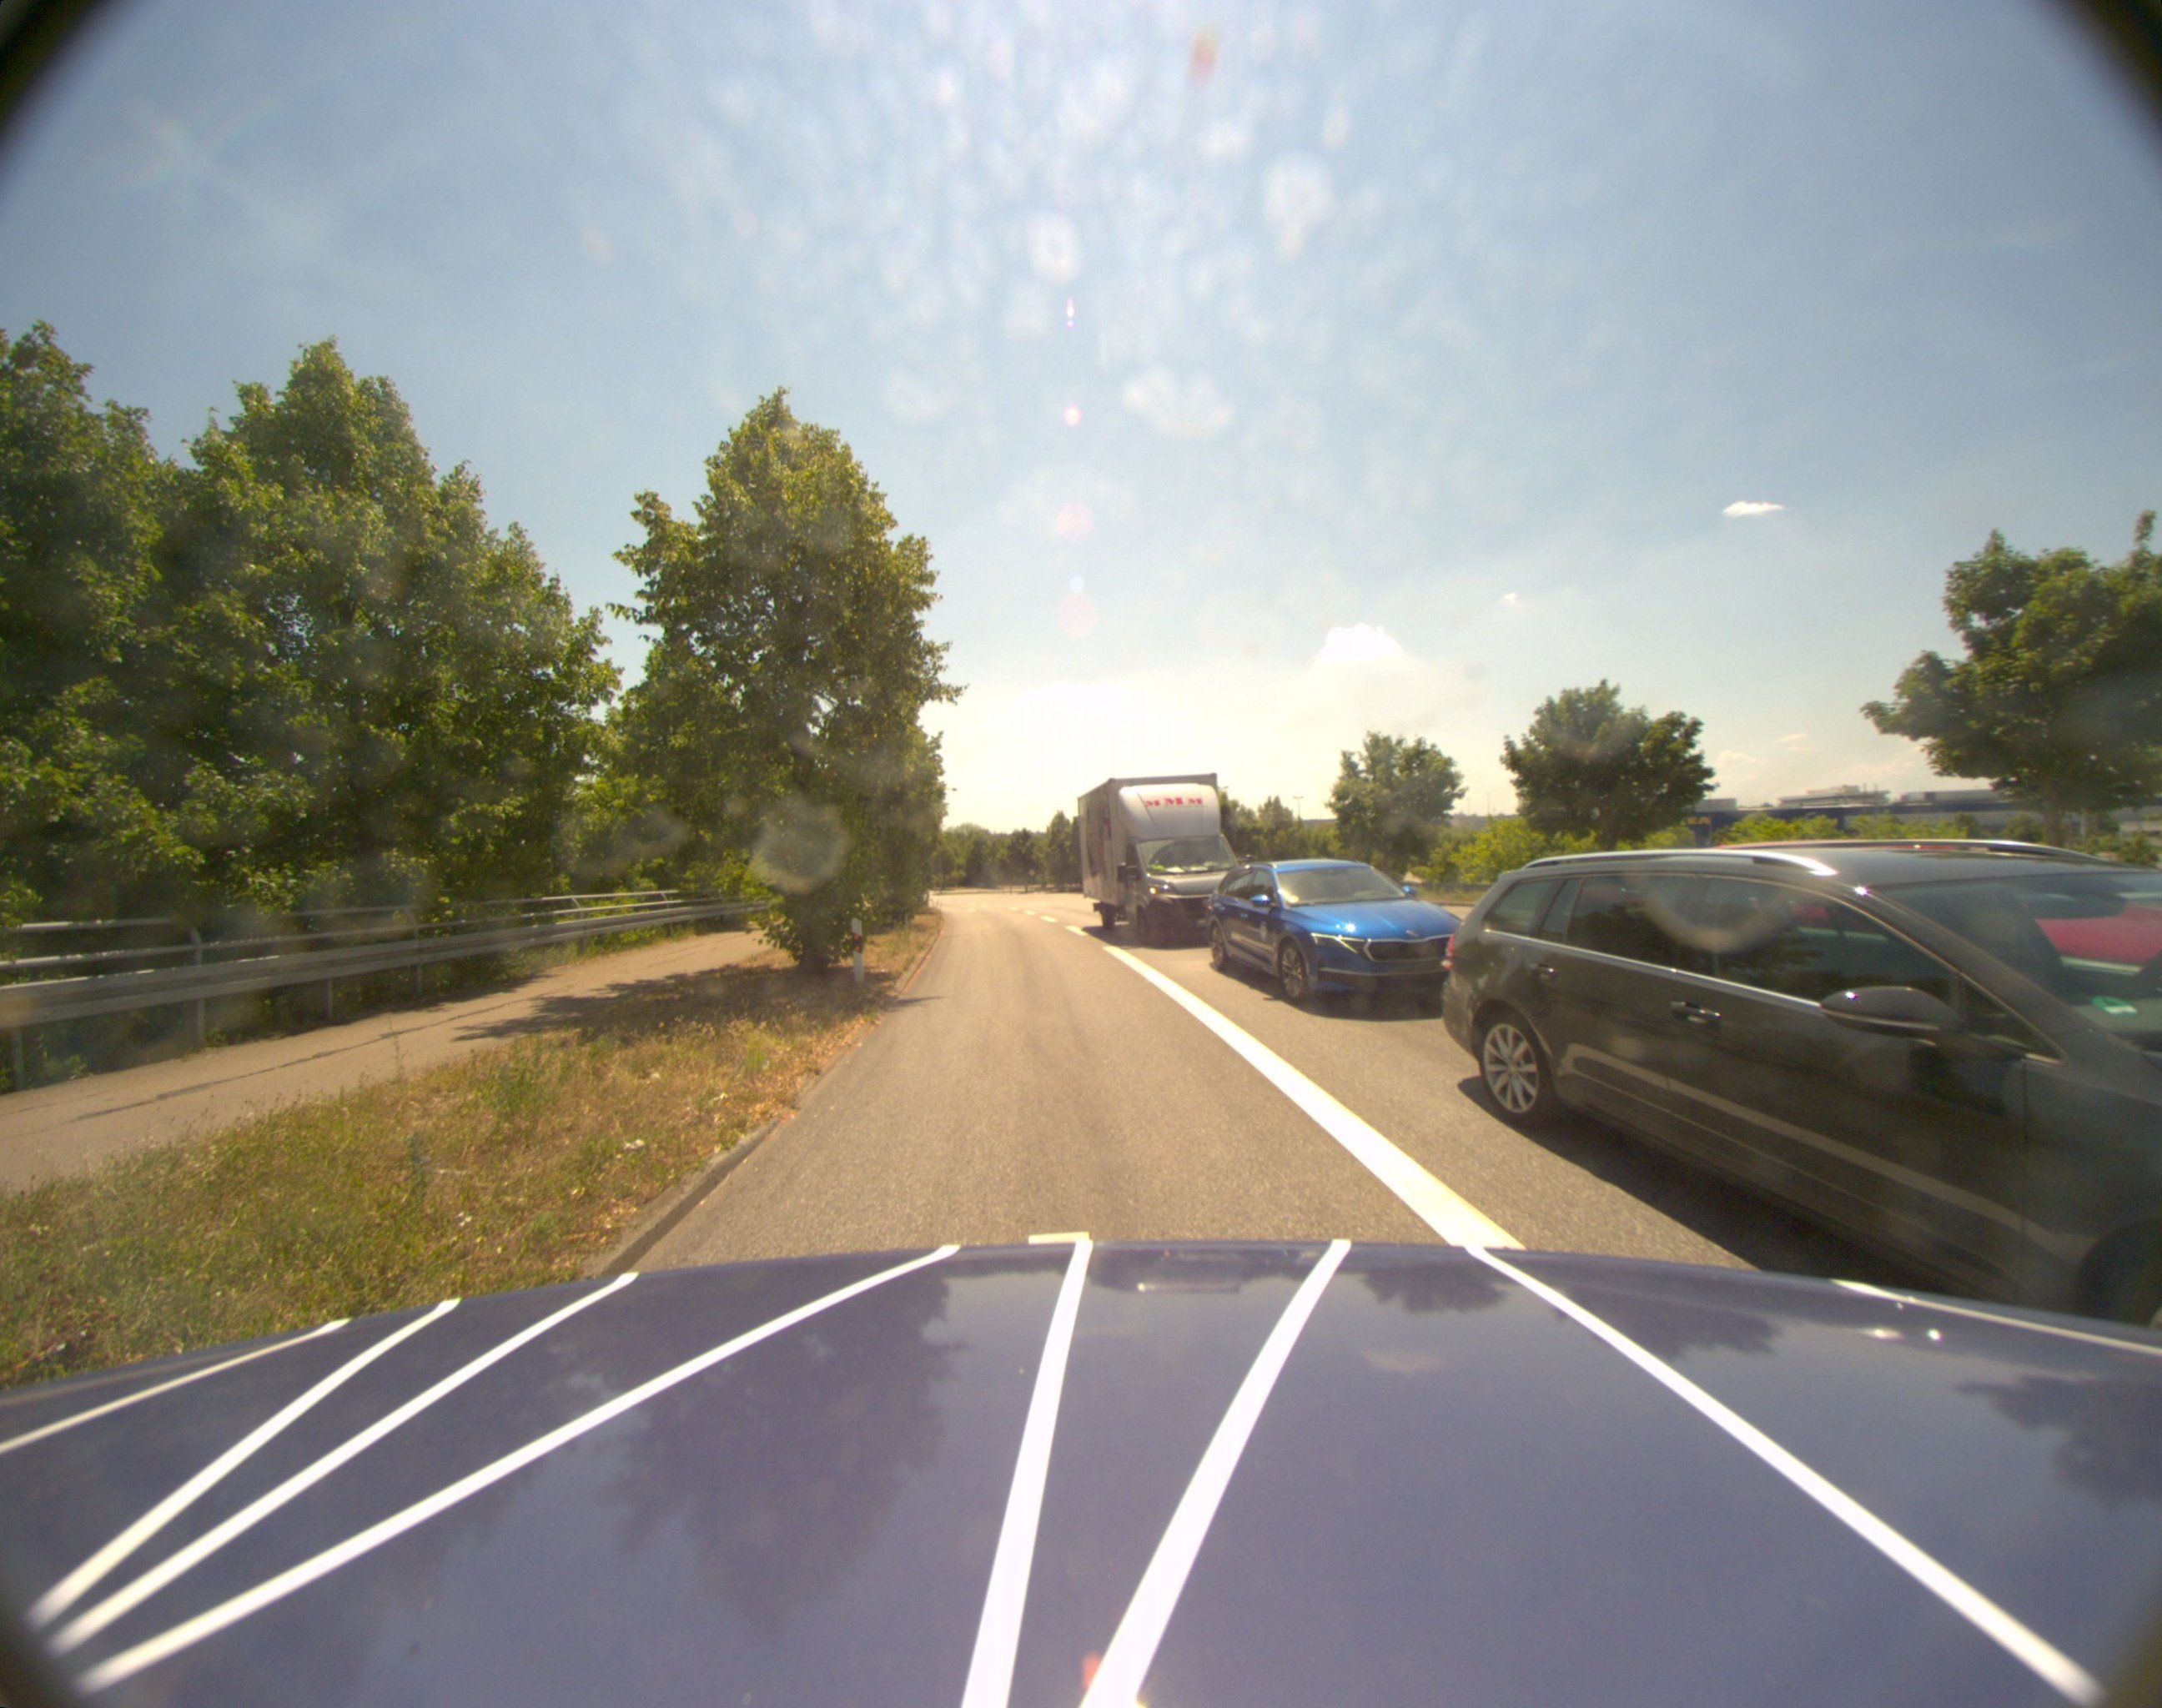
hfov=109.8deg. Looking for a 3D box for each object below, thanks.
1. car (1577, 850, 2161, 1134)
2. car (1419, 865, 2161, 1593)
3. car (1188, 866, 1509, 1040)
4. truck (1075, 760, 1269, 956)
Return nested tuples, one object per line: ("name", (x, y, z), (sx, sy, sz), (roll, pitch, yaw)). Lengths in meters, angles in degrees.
("car", (6.289, 0.707, 5.964), (1.665, 1.380, 4.448), (-3, 1, -3))
("car", (3.168, 0.838, 2.673), (1.783, 1.474, 4.428), (-2, 0, -3))
("car", (2.727, 0.912, 9.019), (1.713, 1.454, 4.487), (-3, -1, -7))
("truck", (1.579, 0.142, 16.858), (2.415, 3.327, 7.199), (-2, -1, -8))
